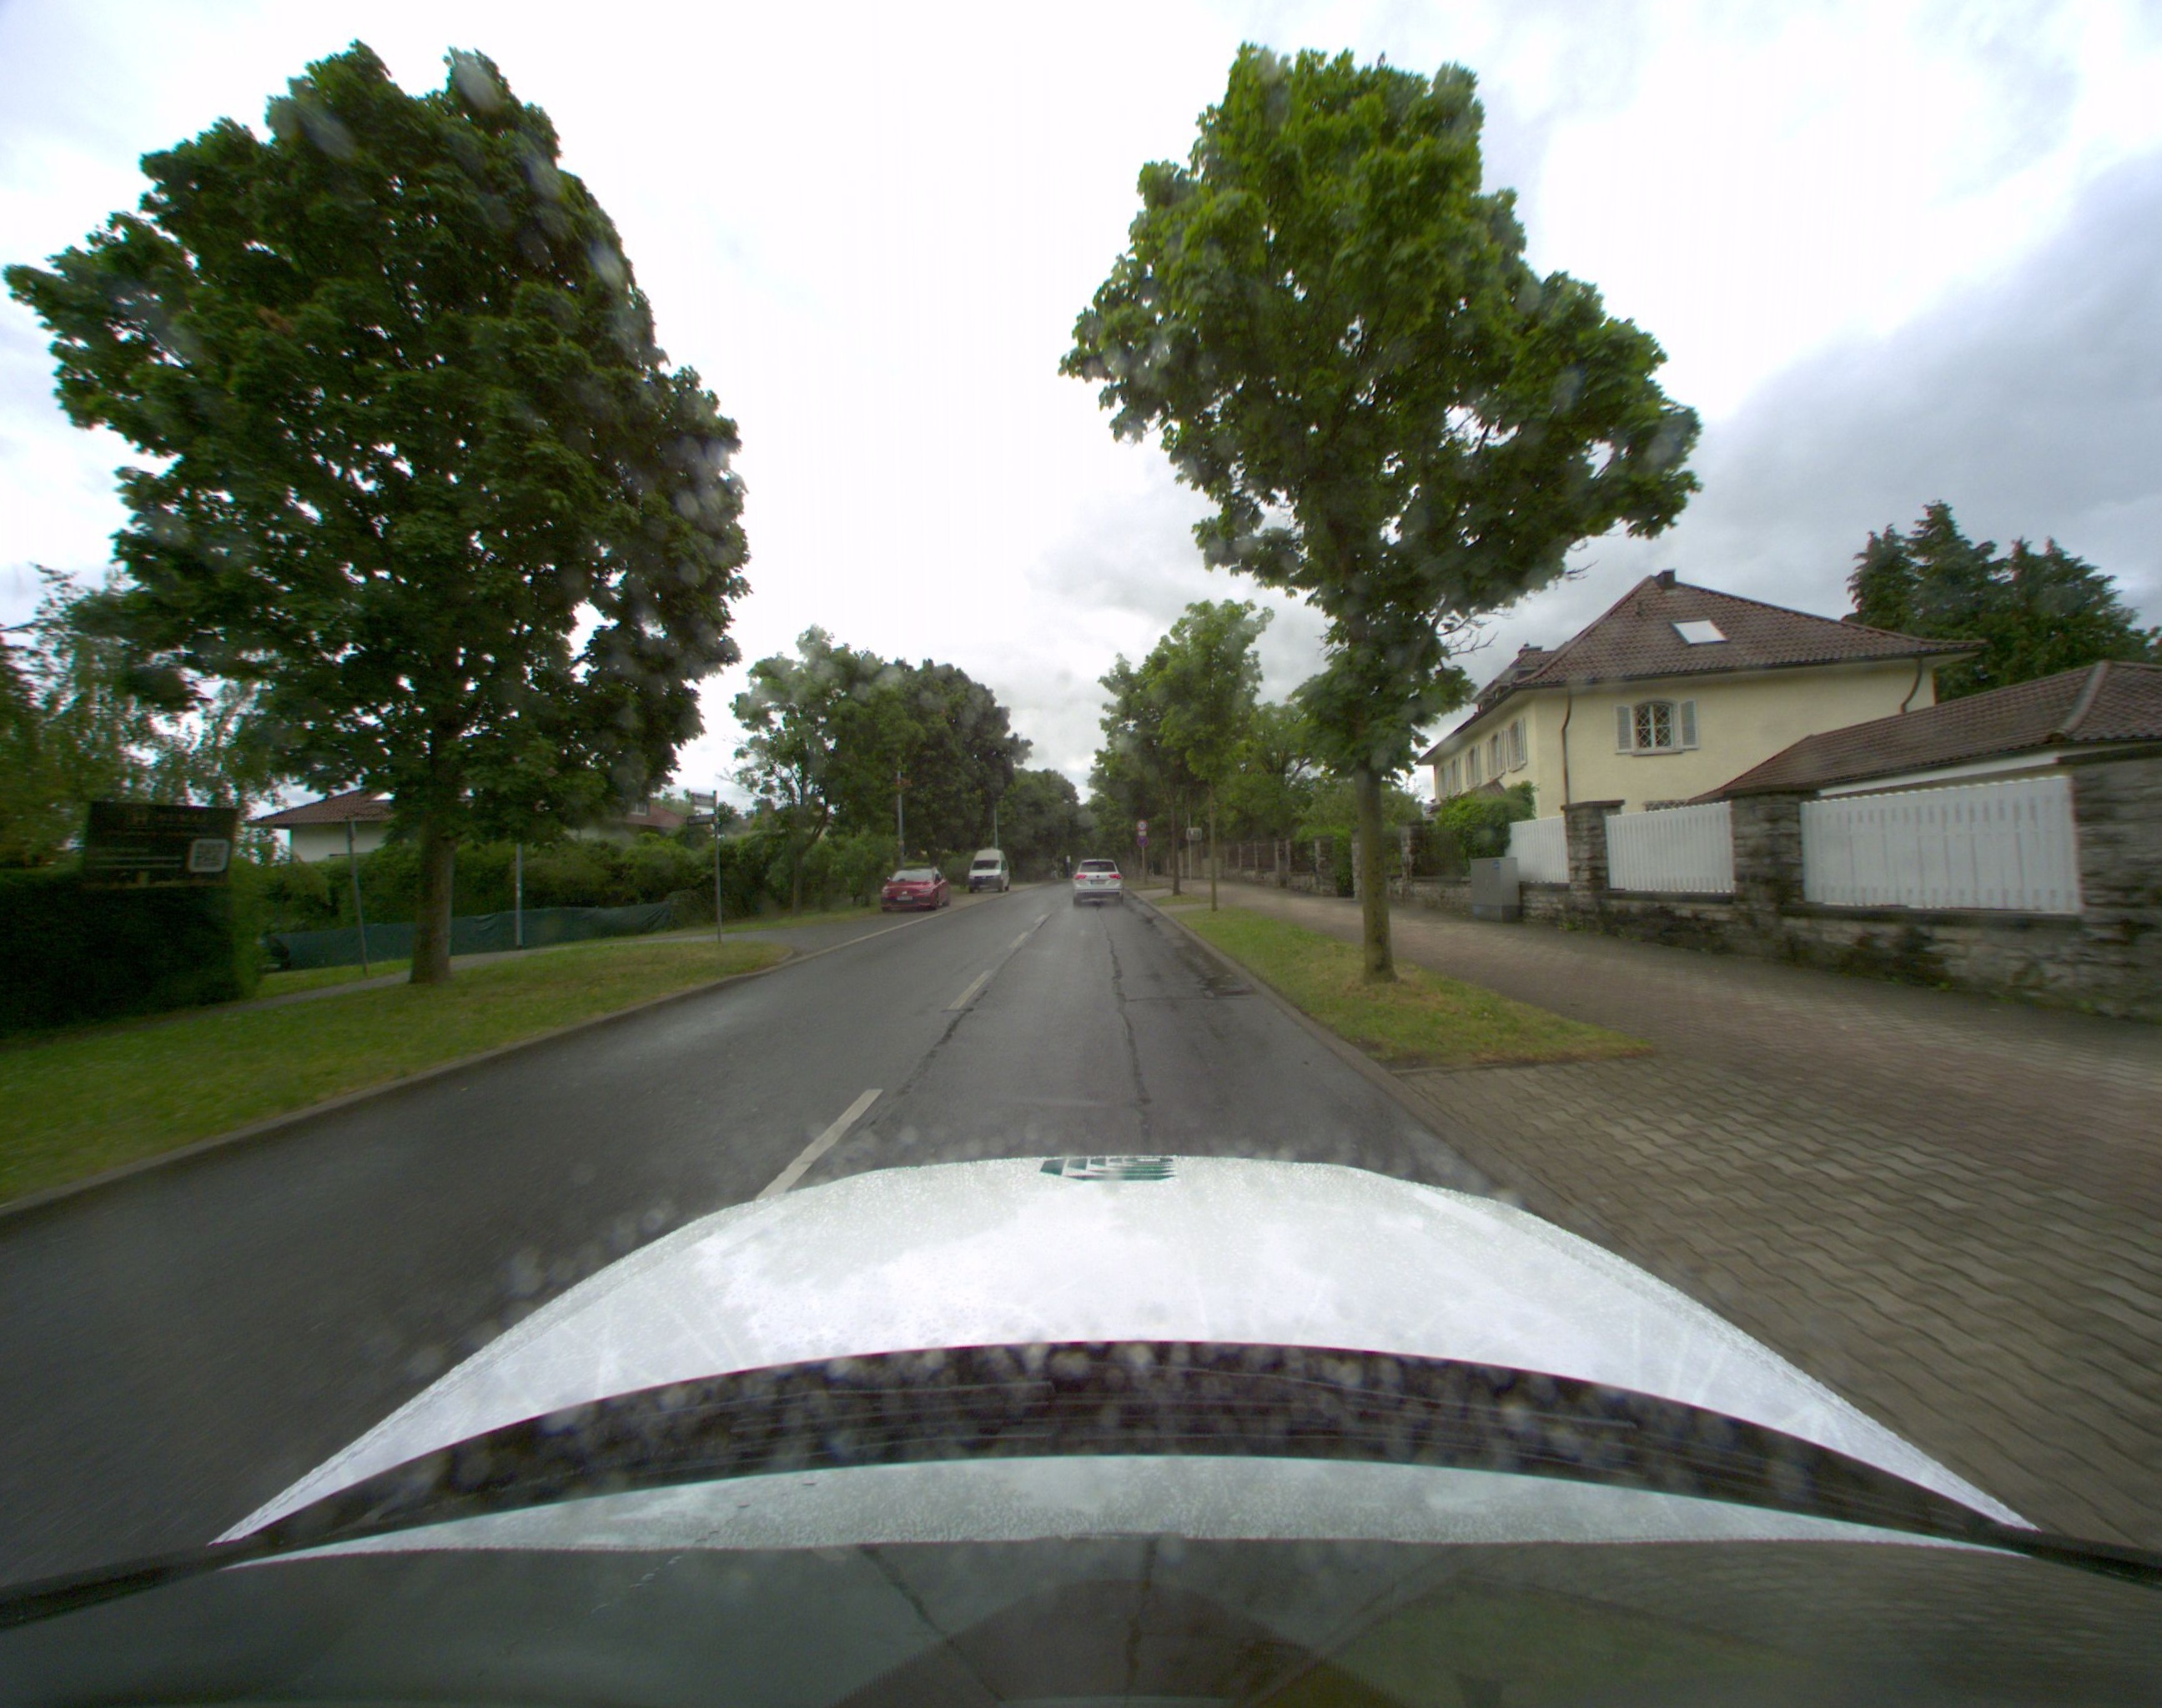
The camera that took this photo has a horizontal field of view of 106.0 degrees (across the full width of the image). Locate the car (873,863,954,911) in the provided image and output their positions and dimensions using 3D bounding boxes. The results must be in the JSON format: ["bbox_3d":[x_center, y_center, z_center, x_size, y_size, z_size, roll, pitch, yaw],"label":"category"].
[{"bbox_3d":[-5.557,1.056,27.592,1.837,1.466,4.249,-1,-1,0],"label":"car"}]

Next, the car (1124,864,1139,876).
[{"bbox_3d":[7.570,2.410,121.885,1.829,1.487,4.010,-4,-3,10],"label":"car"}]

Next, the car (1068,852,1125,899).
[{"bbox_3d":[0.598,0.757,30.891,1.989,1.632,4.001,-1,0,1],"label":"car"}]

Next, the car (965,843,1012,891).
[{"bbox_3d":[-5.289,0.747,47.187,1.987,2.561,5.232,-2,-1,0],"label":"car"}]
